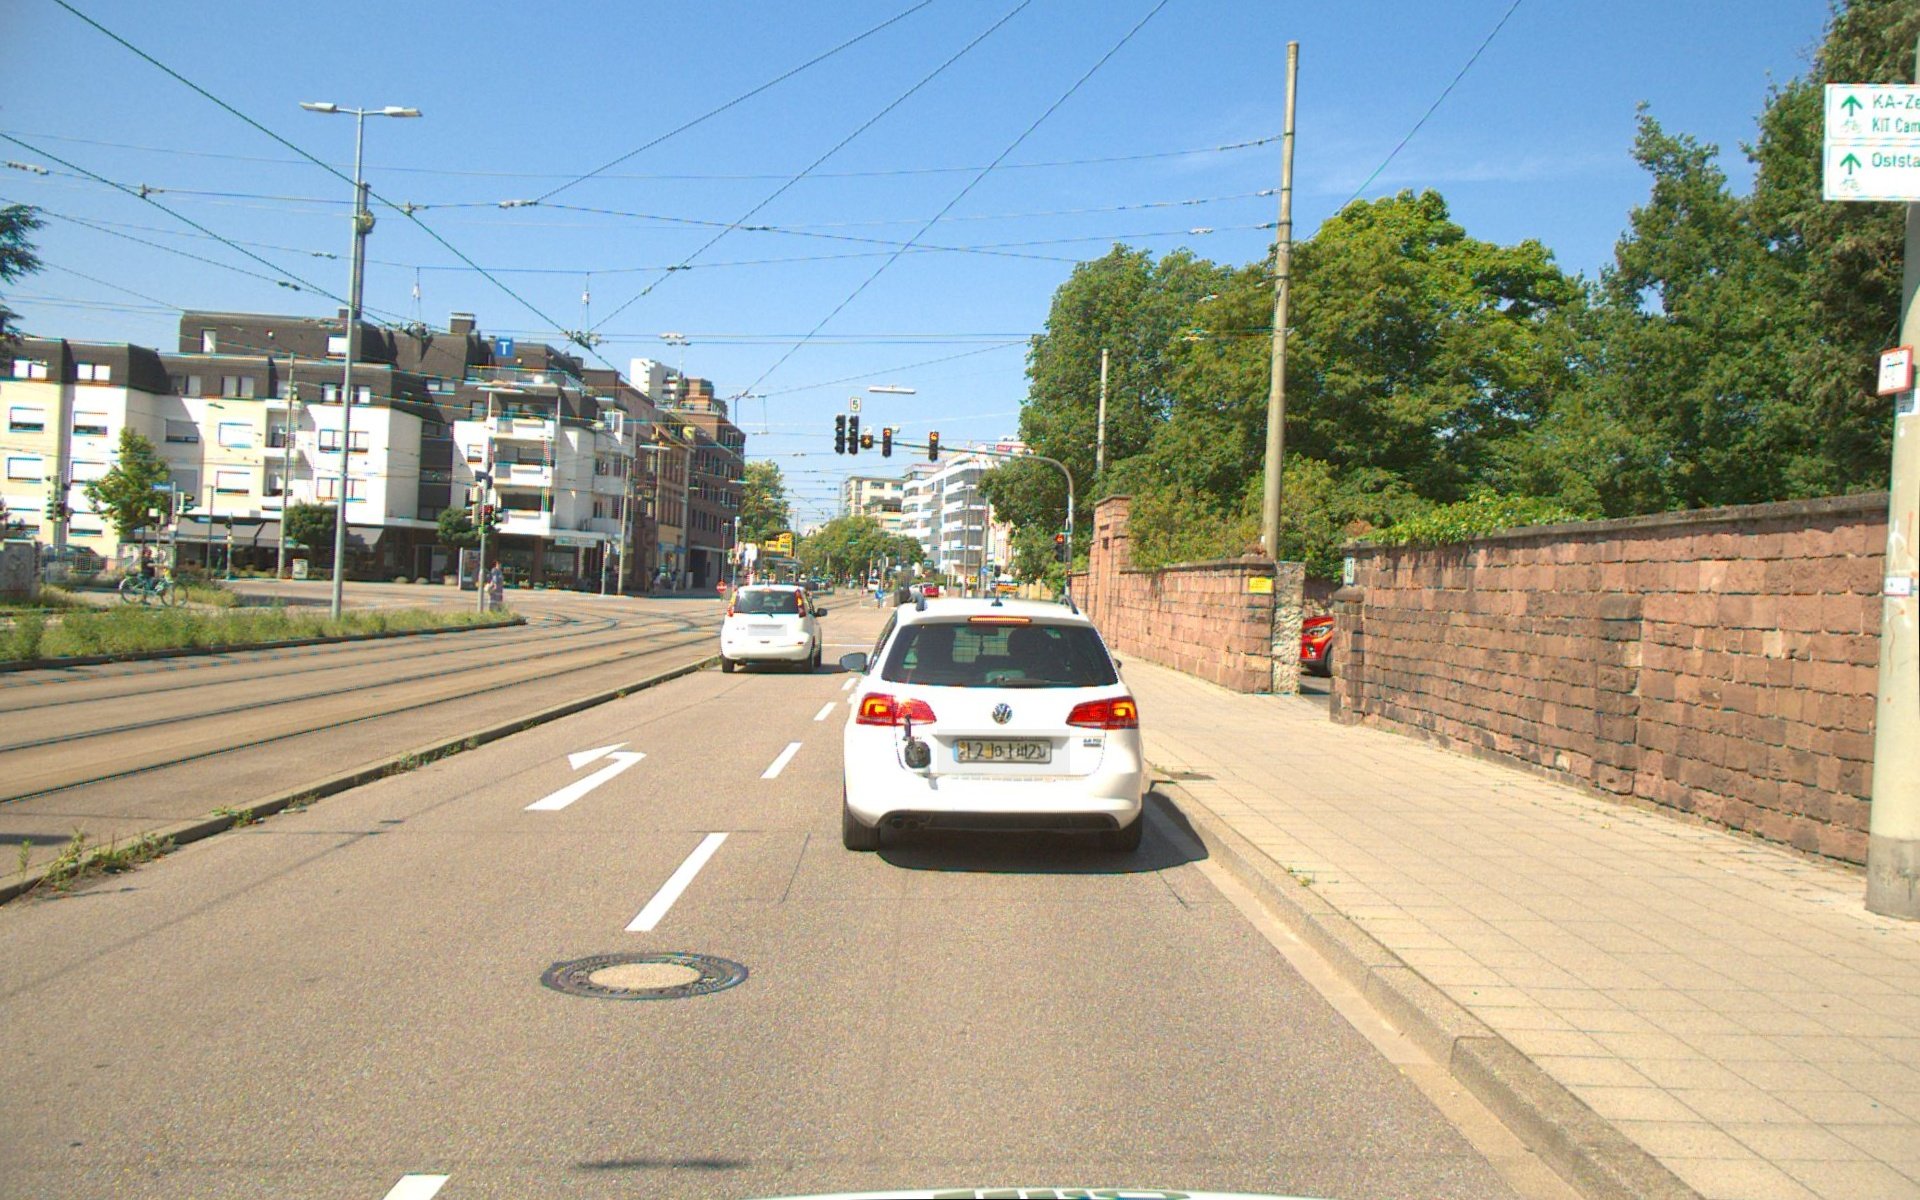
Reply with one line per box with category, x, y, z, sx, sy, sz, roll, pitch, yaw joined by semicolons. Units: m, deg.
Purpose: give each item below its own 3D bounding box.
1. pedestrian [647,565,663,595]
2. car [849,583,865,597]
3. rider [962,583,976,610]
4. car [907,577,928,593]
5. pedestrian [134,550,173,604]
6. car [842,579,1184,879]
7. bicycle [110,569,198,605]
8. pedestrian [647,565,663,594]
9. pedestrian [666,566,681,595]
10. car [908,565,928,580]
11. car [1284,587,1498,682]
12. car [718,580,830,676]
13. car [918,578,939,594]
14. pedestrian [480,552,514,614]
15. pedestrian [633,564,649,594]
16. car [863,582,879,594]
pedestrian;-21.303;-1.409;115.601;0.919;2.049;0.989;2;0;-6
car;-12.421;-1.240;199.622;1.664;1.619;3.533;2;0;-2
rider;0.610;-0.260;111.819;0.873;1.758;2.203;2;0;0
car;-5.627;-1.978;218.005;1.960;1.937;3.985;2;0;-14
pedestrian;-22.939;-0.652;47.049;0.810;1.513;0.557;2;0;-44
car;0.270;0.656;10.513;1.742;1.516;3.846;1;0;0
bicycle;-22.670;-0.347;46.534;0.544;0.937;2.161;2;0;45
pedestrian;-21.874;-1.456;118.647;0.919;2.049;0.989;2;0;-6
pedestrian;-20.992;-1.437;121.301;0.919;2.049;0.989;2;0;-7
car;-6.086;-3.971;240.893;1.960;2.048;3.985;2;0;-15
car;7.613;0.599;29.383;3.338;1.489;1.524;3;0;-1
car;-3.418;0.475;30.947;1.695;1.624;4.010;2;0;-2
car;-4.362;-1.877;226.574;1.960;2.048;3.985;2;0;-15
pedestrian;-13.713;-0.507;49.028;0.811;1.769;0.930;2;0;-9
pedestrian;-22.708;-1.484;117.644;0.918;2.049;0.989;2;0;-5
car;-12.583;-1.741;233.078;1.668;1.618;3.525;2;0;-11
